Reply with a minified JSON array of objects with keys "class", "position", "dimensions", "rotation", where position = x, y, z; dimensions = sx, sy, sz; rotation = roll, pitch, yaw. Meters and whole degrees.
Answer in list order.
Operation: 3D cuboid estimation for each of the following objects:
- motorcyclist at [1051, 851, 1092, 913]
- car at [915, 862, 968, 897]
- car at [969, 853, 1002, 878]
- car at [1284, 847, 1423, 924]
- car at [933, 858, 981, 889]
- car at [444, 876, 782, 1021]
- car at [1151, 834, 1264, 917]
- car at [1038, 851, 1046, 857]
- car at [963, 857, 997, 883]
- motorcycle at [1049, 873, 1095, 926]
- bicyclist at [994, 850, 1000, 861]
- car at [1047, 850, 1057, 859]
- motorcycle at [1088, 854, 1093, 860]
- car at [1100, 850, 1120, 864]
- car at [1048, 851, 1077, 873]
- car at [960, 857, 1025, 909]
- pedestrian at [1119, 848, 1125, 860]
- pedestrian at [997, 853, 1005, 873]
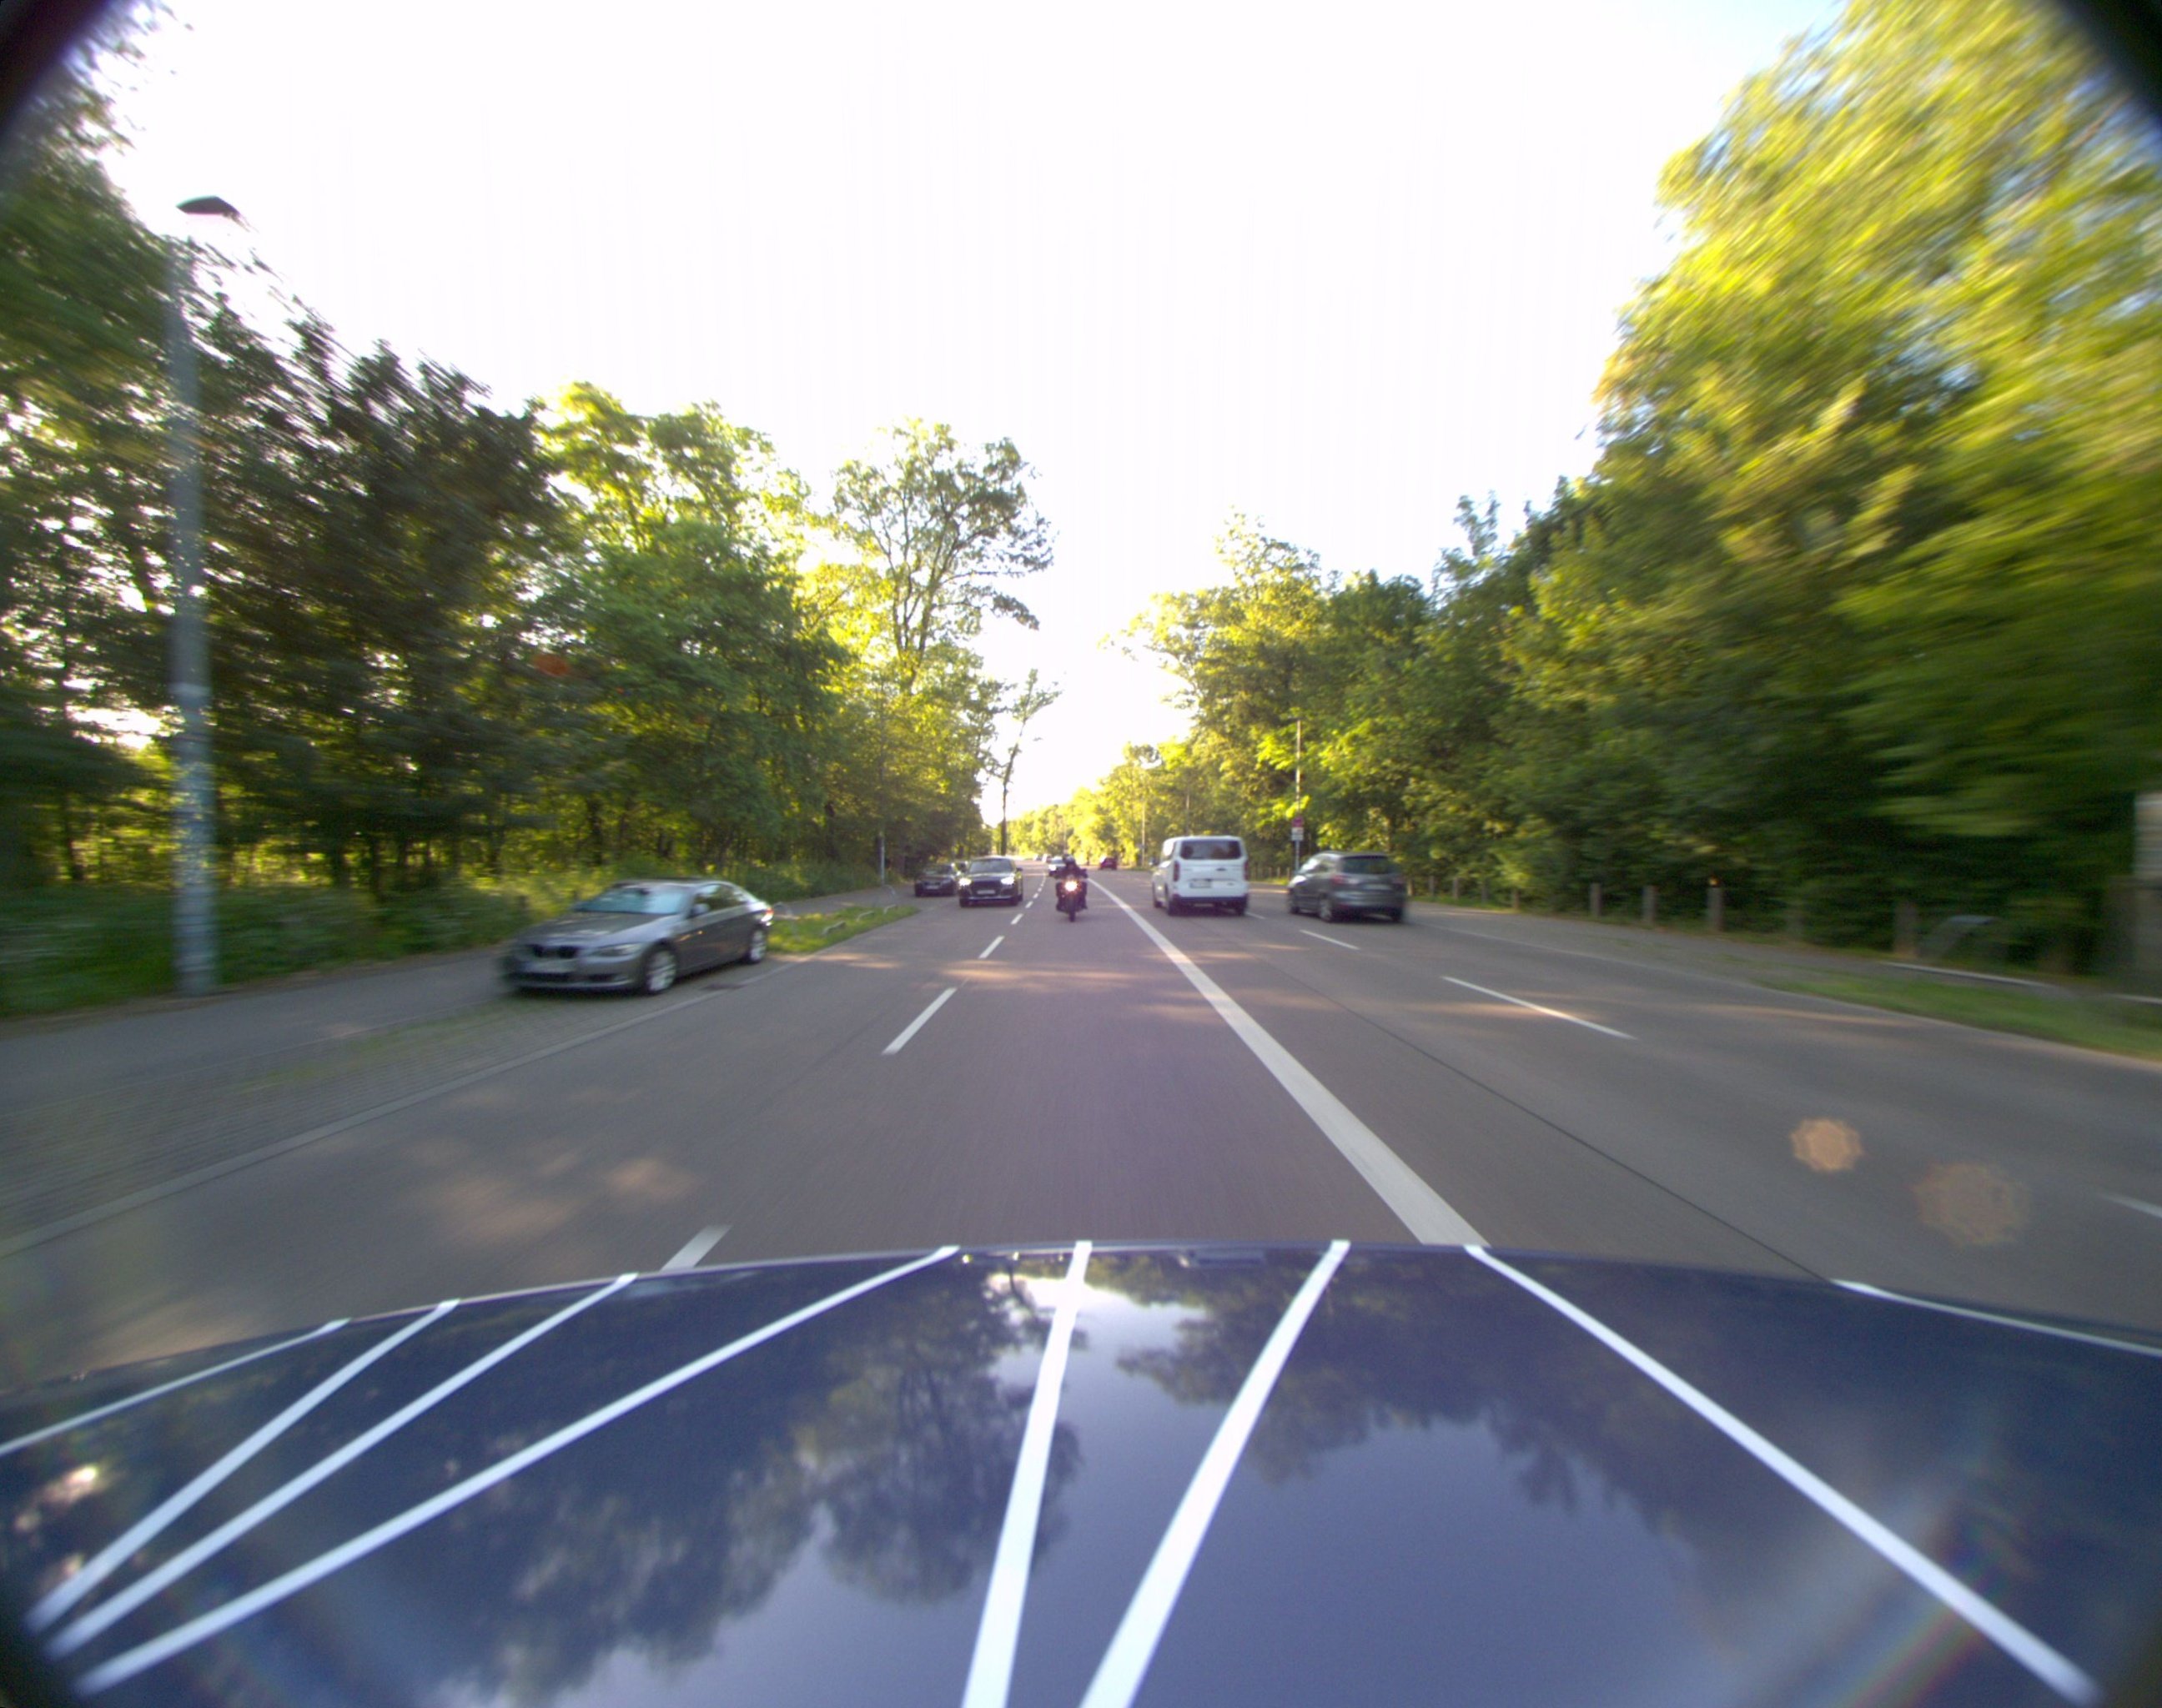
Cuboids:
[{"class":"motorcyclist","position":[-0.220,0.691,19.555],"dimensions":[0.953,1.523,1.074],"rotation":[-2,1,1]},{"class":"car","position":[-6.081,1.069,33.507],"dimensions":[1.740,1.384,3.944],"rotation":[-1,0,-2]},{"class":"car","position":[-6.662,0.771,53.539],"dimensions":[1.858,1.575,4.721],"rotation":[2,0,-2]},{"class":"car","position":[6.218,0.657,17.854],"dimensions":[1.805,1.590,3.999],"rotation":[-1,0,-1]},{"class":"car","position":[-6.337,0.966,39.211],"dimensions":[1.858,1.448,4.282],"rotation":[2,0,-2]},{"class":"car","position":[-6.024,1.099,10.588],"dimensions":[1.857,1.384,4.521],"rotation":[2,0,1]},{"class":"car","position":[3.233,0.491,20.481],"dimensions":[2.212,1.949,4.912],"rotation":[-1,1,0]},{"class":"car","position":[-10.530,-0.085,207.077],"dimensions":[1.999,1.650,4.446],"rotation":[-1,1,-5]},{"class":"car","position":[-6.390,0.981,48.516],"dimensions":[1.858,1.448,4.461],"rotation":[2,0,-4]},{"class":"motorcycle","position":[-0.177,1.101,19.440],"dimensions":[0.956,1.098,3.339],"rotation":[-3,0,2]},{"class":"bicyclist","position":[-12.099,0.270,109.542],"dimensions":[0.703,1.552,0.875],"rotation":[1,1,-3]},{"class":"car","position":[-6.024,0.056,156.689],"dimensions":[1.911,1.746,4.797],"rotation":[0,0,-5]},{"class":"motorcycle","position":[1.481,0.443,116.435],"dimensions":[0.670,0.899,2.166],"rotation":[-1,0,-3]},{"class":"car","position":[3.262,0.303,85.022],"dimensions":[1.828,1.454,4.923],"rotation":[0,0,-3]},{"class":"car","position":[-1.517,0.660,63.395],"dimensions":[1.998,1.761,4.233],"rotation":[-1,0,4]},{"class":"car","position":[-2.949,0.922,26.118],"dimensions":[1.861,1.608,3.999],"rotation":[-1,0,-1]},{"class":"pedestrian","position":[6.209,-0.037,115.775],"dimensions":[0.773,1.758,0.737],"rotation":[1,1,-9]},{"class":"pedestrian","position":[-6.982,0.788,66.226],"dimensions":[0.513,1.746,0.734],"rotation":[0,1,-16]}]
